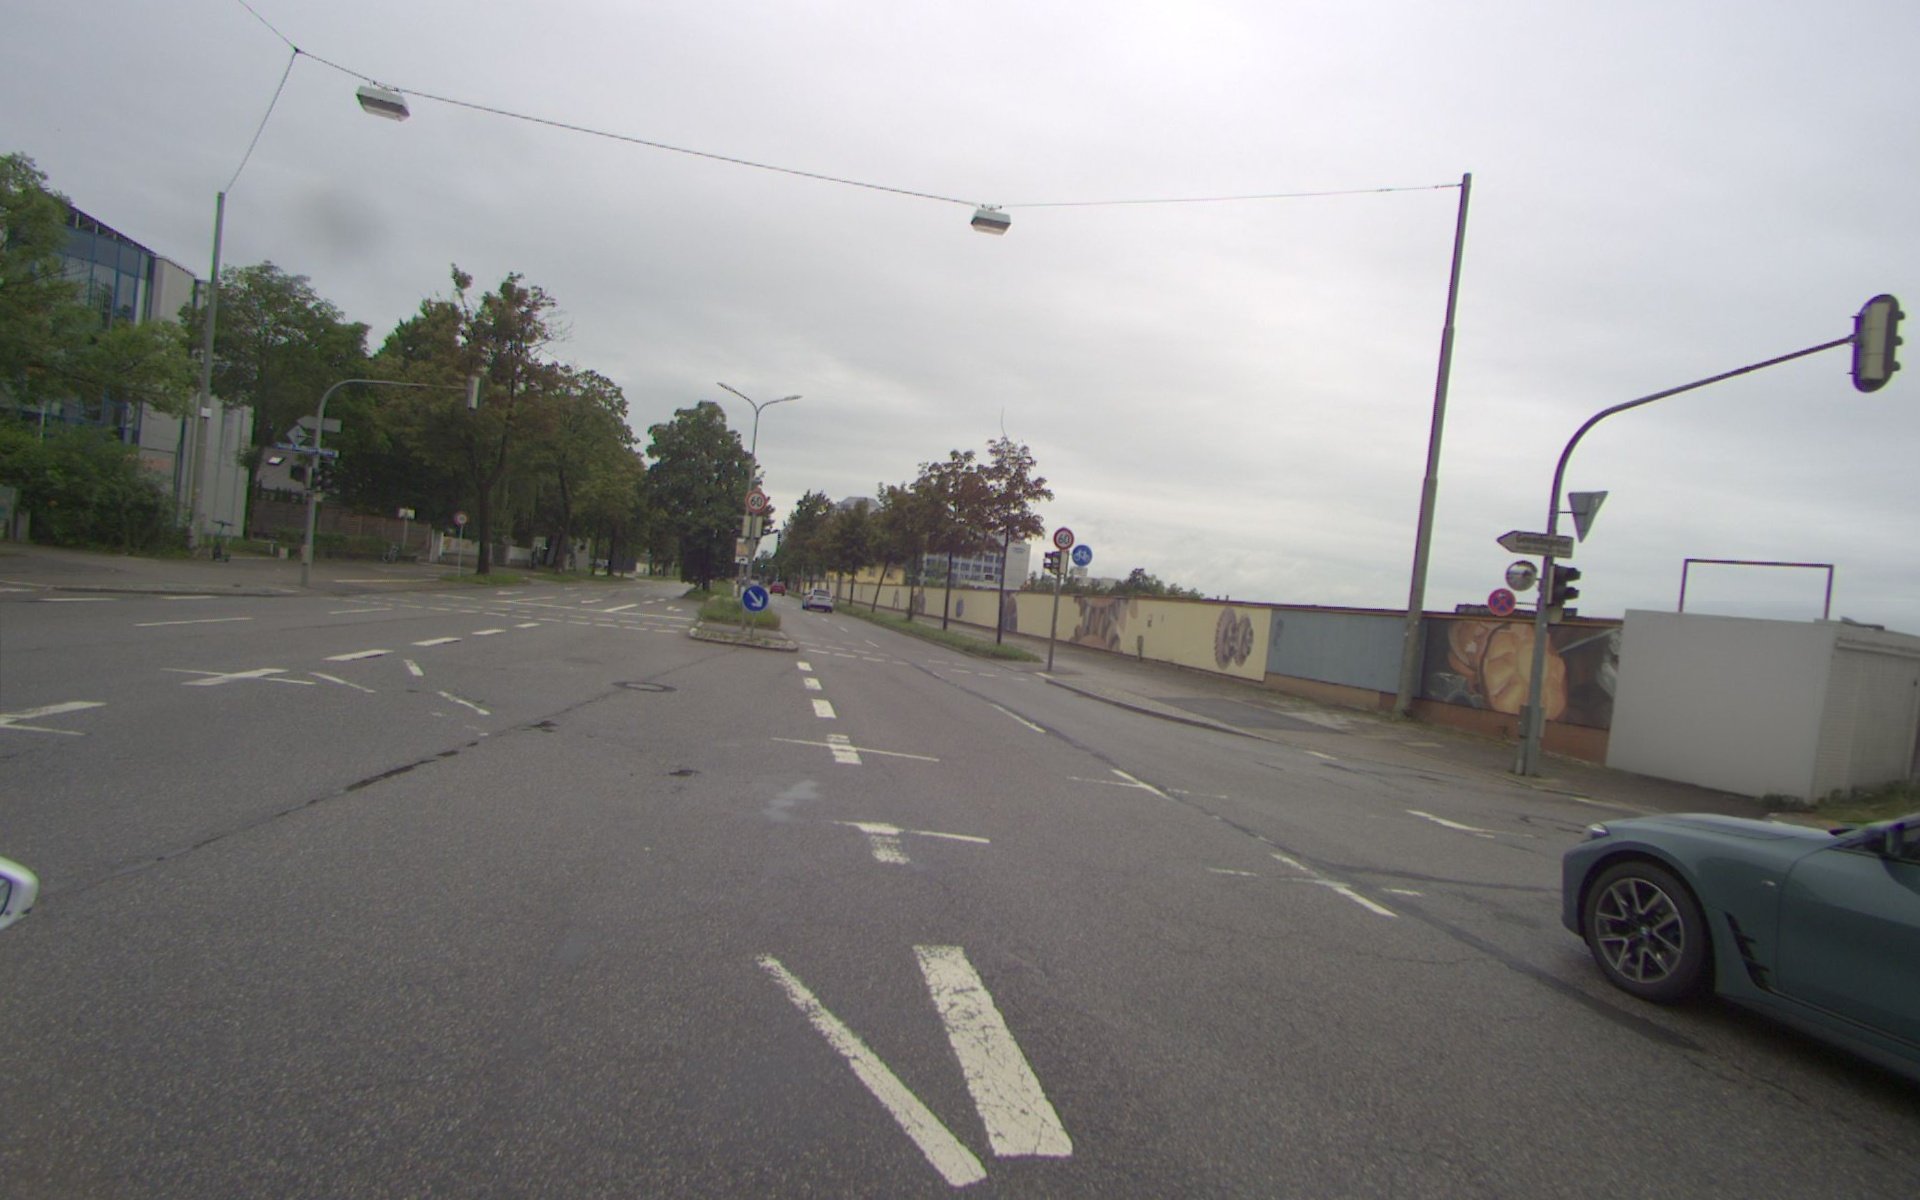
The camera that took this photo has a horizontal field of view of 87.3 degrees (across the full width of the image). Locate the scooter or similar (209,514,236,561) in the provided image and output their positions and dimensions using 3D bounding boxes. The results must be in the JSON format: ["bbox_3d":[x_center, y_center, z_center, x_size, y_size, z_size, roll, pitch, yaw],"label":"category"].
[{"bbox_3d":[-23.788,-2.019,32.449,0.367,1.442,1.395,7,1,-28],"label":"scooter or similar"}]

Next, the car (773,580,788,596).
[{"bbox_3d":[-22.340,-1.483,125.132,1.465,1.736,3.540,7,0,-14],"label":"car"}]

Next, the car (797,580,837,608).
[{"bbox_3d":[-9.484,-0.405,66.238,1.856,1.485,4.486,7,0,-16],"label":"car"}]

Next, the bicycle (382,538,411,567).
[{"bbox_3d":[-28.616,-2.399,51.132,0.575,1.311,2.446,7,0,-15],"label":"bicycle"}]

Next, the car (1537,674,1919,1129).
[{"bbox_3d":[4.632,1.330,3.536,1.887,1.525,4.428,7,0,-13],"label":"car"}]
